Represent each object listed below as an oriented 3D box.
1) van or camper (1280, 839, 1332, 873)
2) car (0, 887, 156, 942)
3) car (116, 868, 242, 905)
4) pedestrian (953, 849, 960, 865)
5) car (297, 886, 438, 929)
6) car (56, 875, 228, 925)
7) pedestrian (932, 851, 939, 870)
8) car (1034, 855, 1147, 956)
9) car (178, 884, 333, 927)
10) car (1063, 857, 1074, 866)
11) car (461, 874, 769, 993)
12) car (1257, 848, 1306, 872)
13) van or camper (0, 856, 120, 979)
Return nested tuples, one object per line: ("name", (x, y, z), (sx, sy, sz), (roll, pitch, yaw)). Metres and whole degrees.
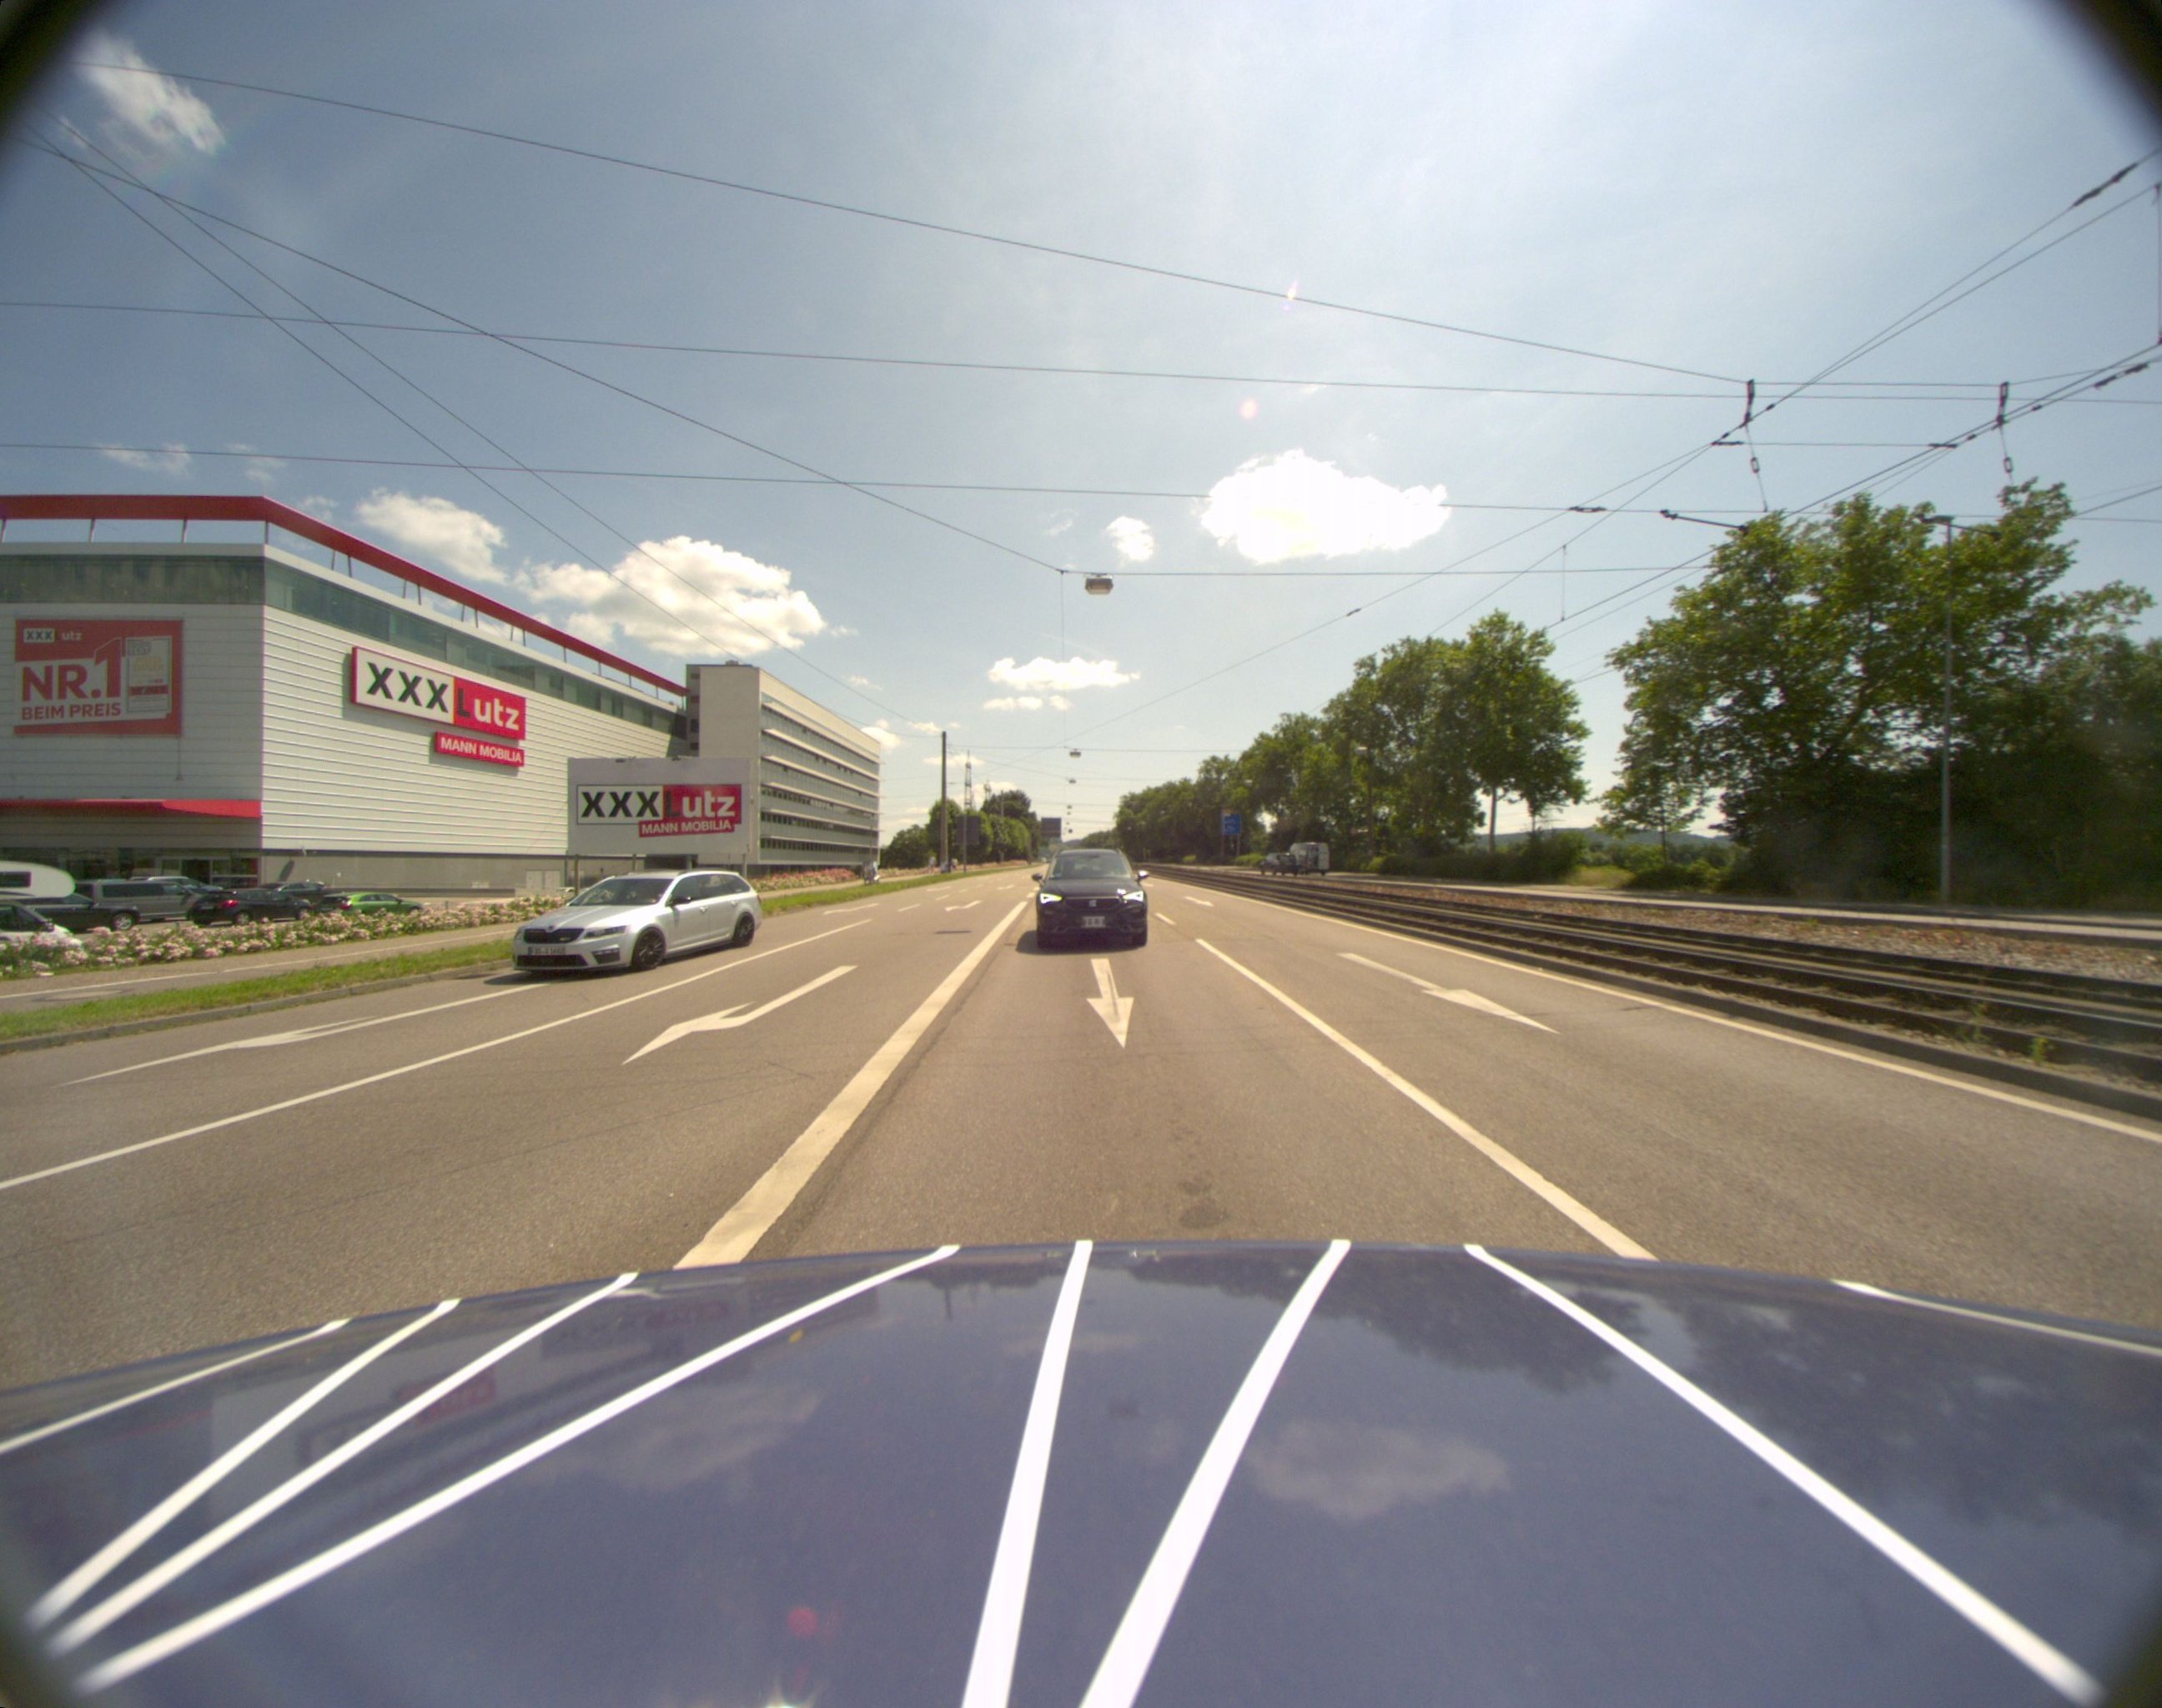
("van or camper", (18.136, 0.116, 61.633), (1.999, 2.571, 5.841), (1, 0, -5))
("car", (-39.252, 2.249, 29.117), (1.998, 1.707, 4.502), (-2, 1, 1))
("car", (-53.115, 1.887, 44.898), (1.998, 1.911, 4.519), (-1, 0, 1))
("pedestrian", (-13.060, 0.326, 79.814), (0.599, 1.645, 0.634), (-1, 1, -1))
("car", (-32.099, 2.342, 34.387), (1.998, 1.554, 4.520), (-1, 0, 1))
("car", (-41.630, 2.000, 33.891), (1.998, 1.883, 4.519), (-1, 0, 1))
("pedestrian", (-13.781, 0.635, 71.907), (0.518, 1.783, 0.634), (-1, 1, -1))
("car", (0.138, 0.841, 14.409), (1.820, 1.583, 3.999), (-1, 0, -1))
("car", (-37.044, 2.257, 34.320), (1.998, 1.546, 4.519), (-1, 0, 1))
("car", (-2.374, 1.436, 146.320), (1.819, 1.829, 4.001), (-1, 0, 3))
("car", (-6.922, 1.086, 11.996), (1.801, 1.390, 4.462), (-1, 0, 5))
("car", (14.539, 0.418, 55.284), (2.000, 1.627, 4.263), (2, 0, -6))
("van or camper", (-27.420, 1.604, 16.689), (2.715, 2.929, 7.613), (-2, 1, 2))
